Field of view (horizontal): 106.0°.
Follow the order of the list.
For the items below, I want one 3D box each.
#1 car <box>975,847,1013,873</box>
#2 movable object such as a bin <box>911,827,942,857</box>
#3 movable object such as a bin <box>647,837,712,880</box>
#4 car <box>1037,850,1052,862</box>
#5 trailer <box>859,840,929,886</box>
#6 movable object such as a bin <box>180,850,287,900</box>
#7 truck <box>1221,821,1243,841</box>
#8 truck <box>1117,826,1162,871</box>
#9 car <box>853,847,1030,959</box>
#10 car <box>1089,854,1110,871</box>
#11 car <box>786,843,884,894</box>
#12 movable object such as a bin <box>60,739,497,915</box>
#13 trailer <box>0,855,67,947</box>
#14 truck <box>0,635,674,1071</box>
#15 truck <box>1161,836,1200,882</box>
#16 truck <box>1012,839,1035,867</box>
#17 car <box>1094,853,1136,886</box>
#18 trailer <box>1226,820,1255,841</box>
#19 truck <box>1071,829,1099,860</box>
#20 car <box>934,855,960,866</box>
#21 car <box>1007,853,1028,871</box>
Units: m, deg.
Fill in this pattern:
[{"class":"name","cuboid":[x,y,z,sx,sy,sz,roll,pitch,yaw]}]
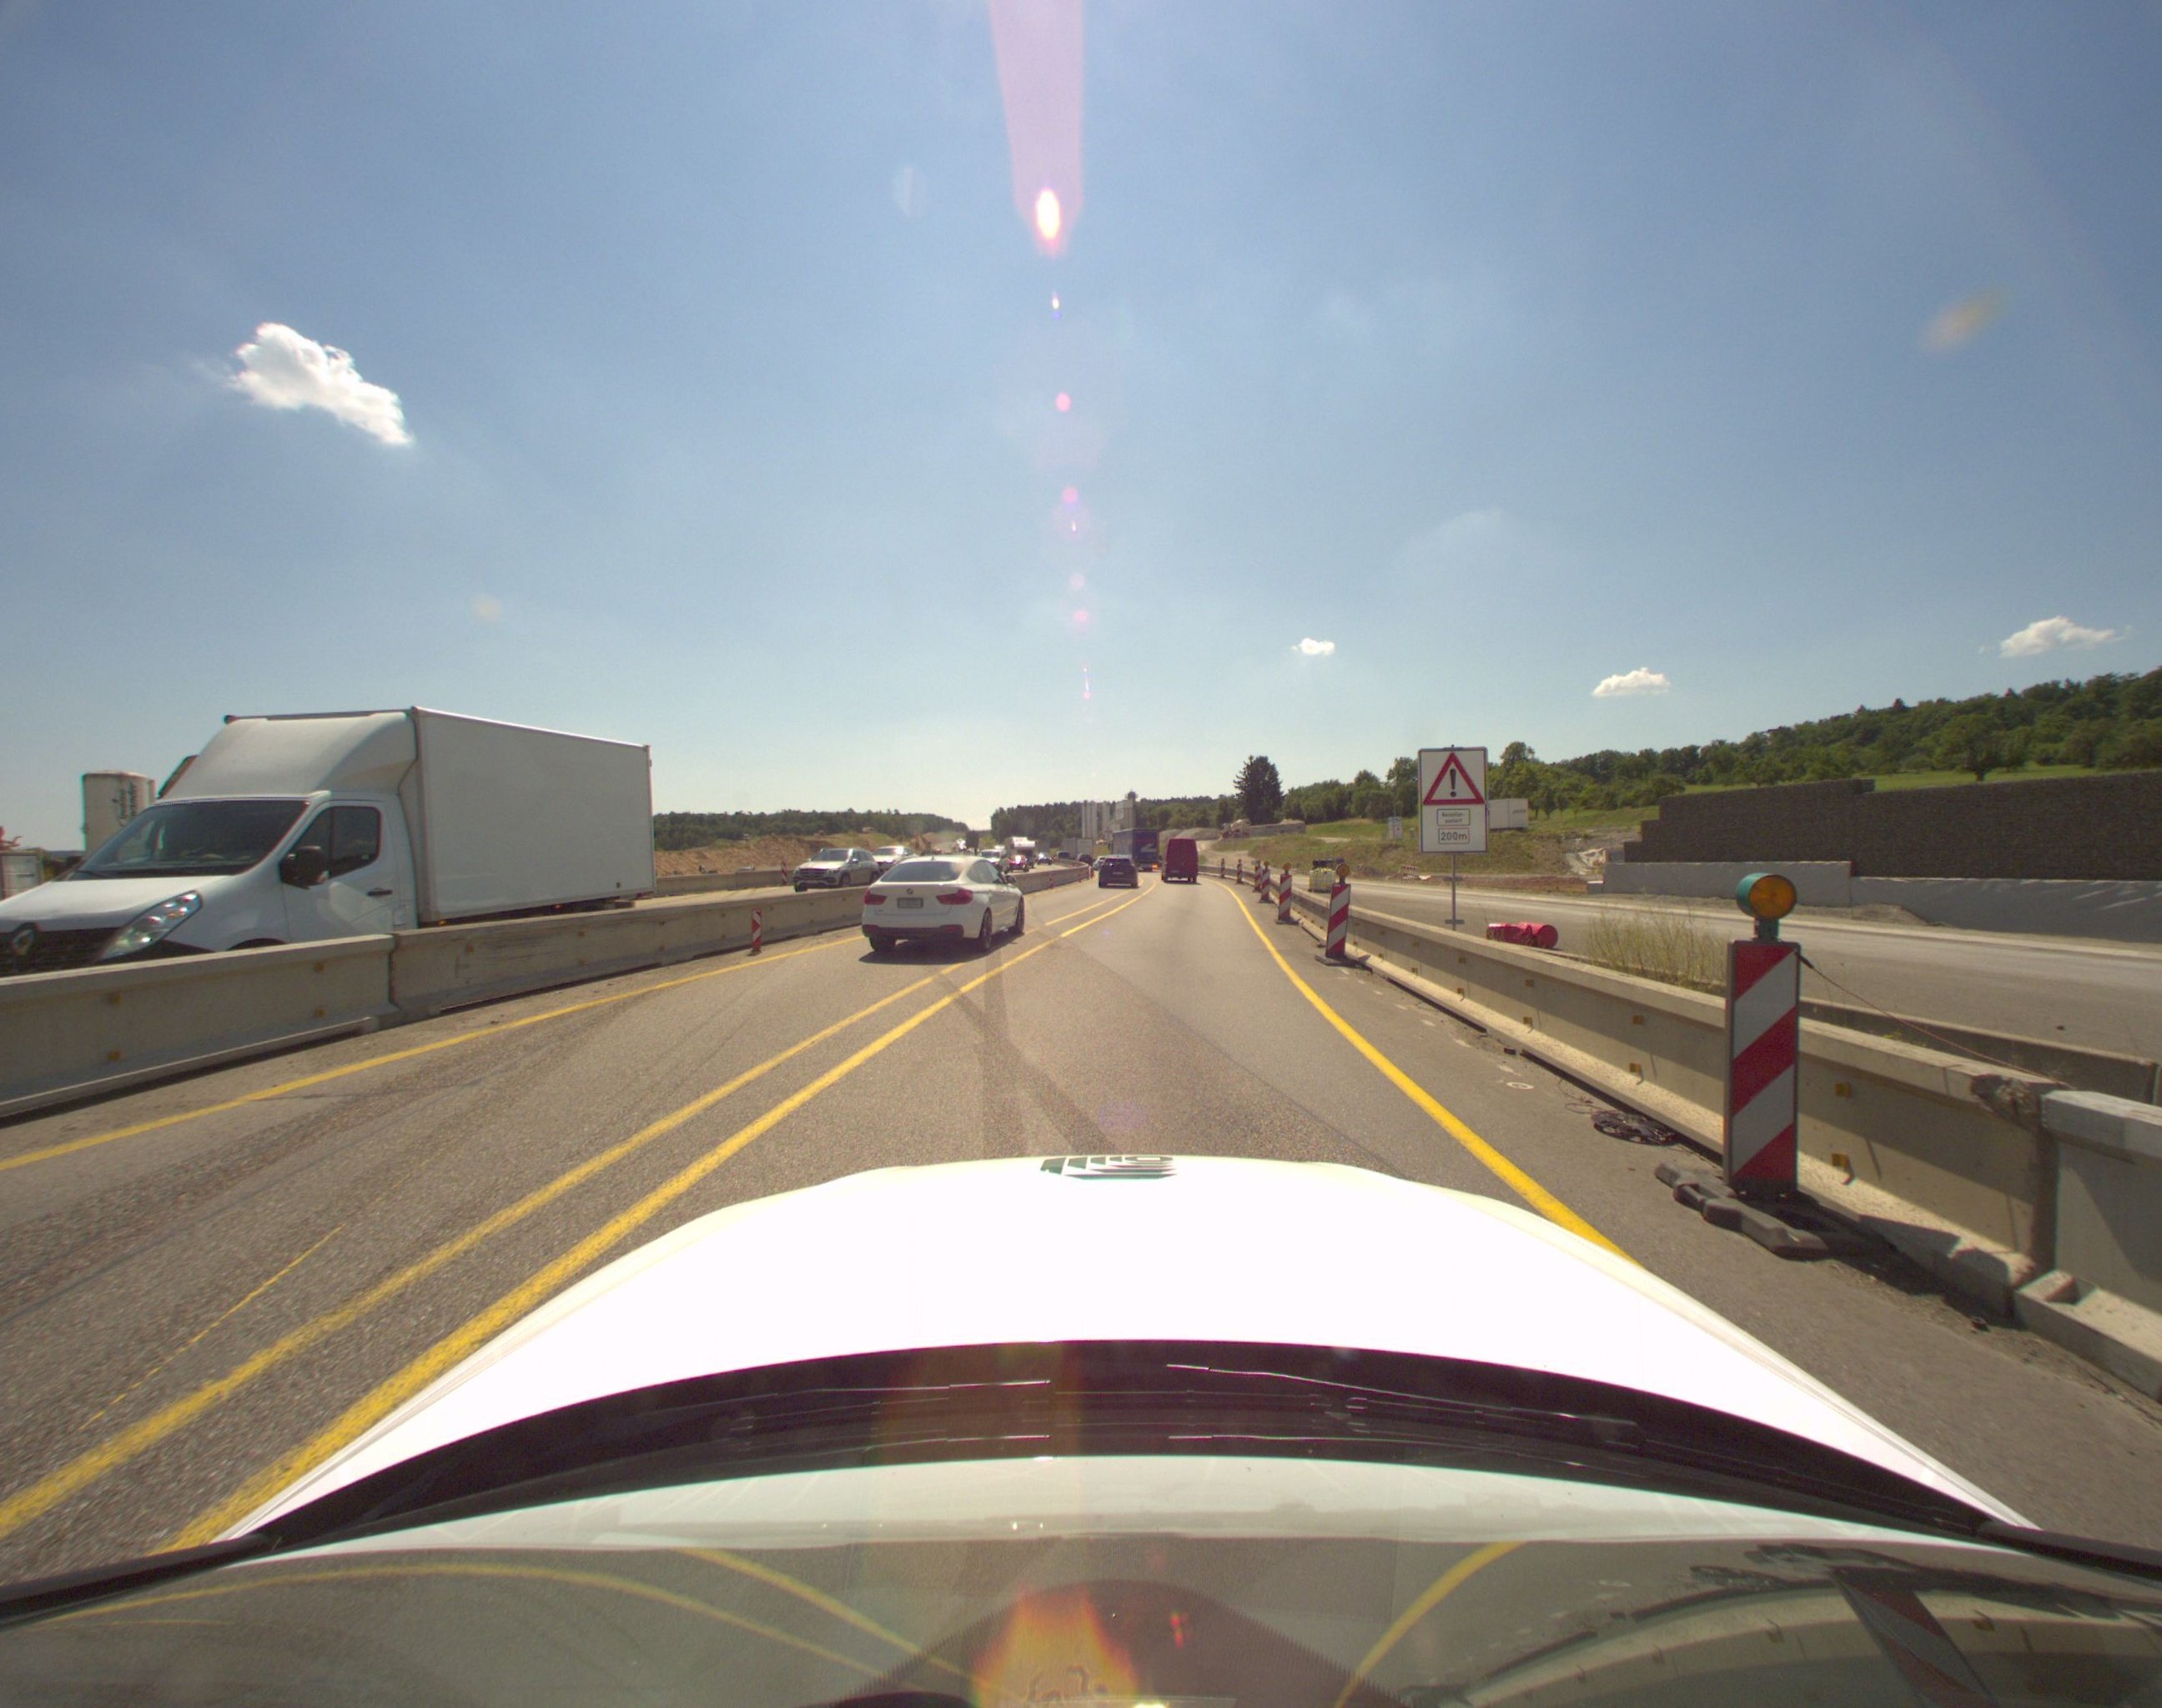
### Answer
[{"class":"car","cuboid":[-6.666,0.444,62.897,1.856,1.953,4.902,-1,0,7]},{"class":"movable object such as a bin","cuboid":[-40.303,-3.088,212.671,7.634,7.713,3.435,-1,0,-9]},{"class":"movable object such as a bin","cuboid":[-29.939,0.323,60.872,1.979,3.140,4.294,-1,0,14]},{"class":"car","cuboid":[-5.035,0.283,111.927,1.654,1.605,4.399,-1,0,2]},{"class":"trailer","cuboid":[-8.850,0.397,38.957,1.856,2.022,4.443,-1,0,6]},{"class":"movable object such as a bin","cuboid":[-56.346,1.328,54.271,1.979,3.140,4.503,-1,0,14]},{"class":"truck","cuboid":[30.572,-4.660,165.369,2.753,4.095,4.074,-1,0,-19]},{"class":"truck","cuboid":[5.762,-0.537,81.421,3.012,4.153,8.254,-1,0,-6]},{"class":"car","cuboid":[-2.149,0.684,14.138,1.787,1.534,5.079,1,0,4]},{"class":"car","cuboid":[1.818,0.819,81.137,1.798,1.579,3.994,-1,0,-4]},{"class":"car","cuboid":[-9.735,0.528,32.676,1.856,1.806,4.916,-2,0,7]},{"class":"movable object such as a bin","cuboid":[-23.391,-0.667,24.890,2.904,4.329,9.359,-1,0,13]},{"class":"trailer","cuboid":[-37.856,1.551,26.426,5.566,2.997,2.872,-1,0,-12]},{"class":"truck","cuboid":[-8.235,-0.015,9.868,2.566,3.381,6.938,-1,0,5]},{"class":"truck","cuboid":[6.073,0.292,50.406,2.102,2.633,6.492,-1,0,4]},{"class":"truck","cuboid":[-6.476,-0.146,92.140,2.436,3.071,7.239,-1,0,-3]},{"class":"car","cuboid":[1.731,0.732,40.430,1.785,1.534,3.939,-1,0,7]},{"class":"trailer","cuboid":[31.664,-4.664,162.071,2.764,4.114,6.704,-1,0,-18]},{"class":"truck","cuboid":[0.553,-1.421,128.319,3.677,4.691,9.736,-1,0,-5]},{"class":"car","cuboid":[-18.326,0.884,111.196,3.215,1.455,1.531,-1,0,-36]},{"class":"car","cuboid":[-5.916,0.694,76.040,1.715,1.627,4.334,-1,0,-1]}]
